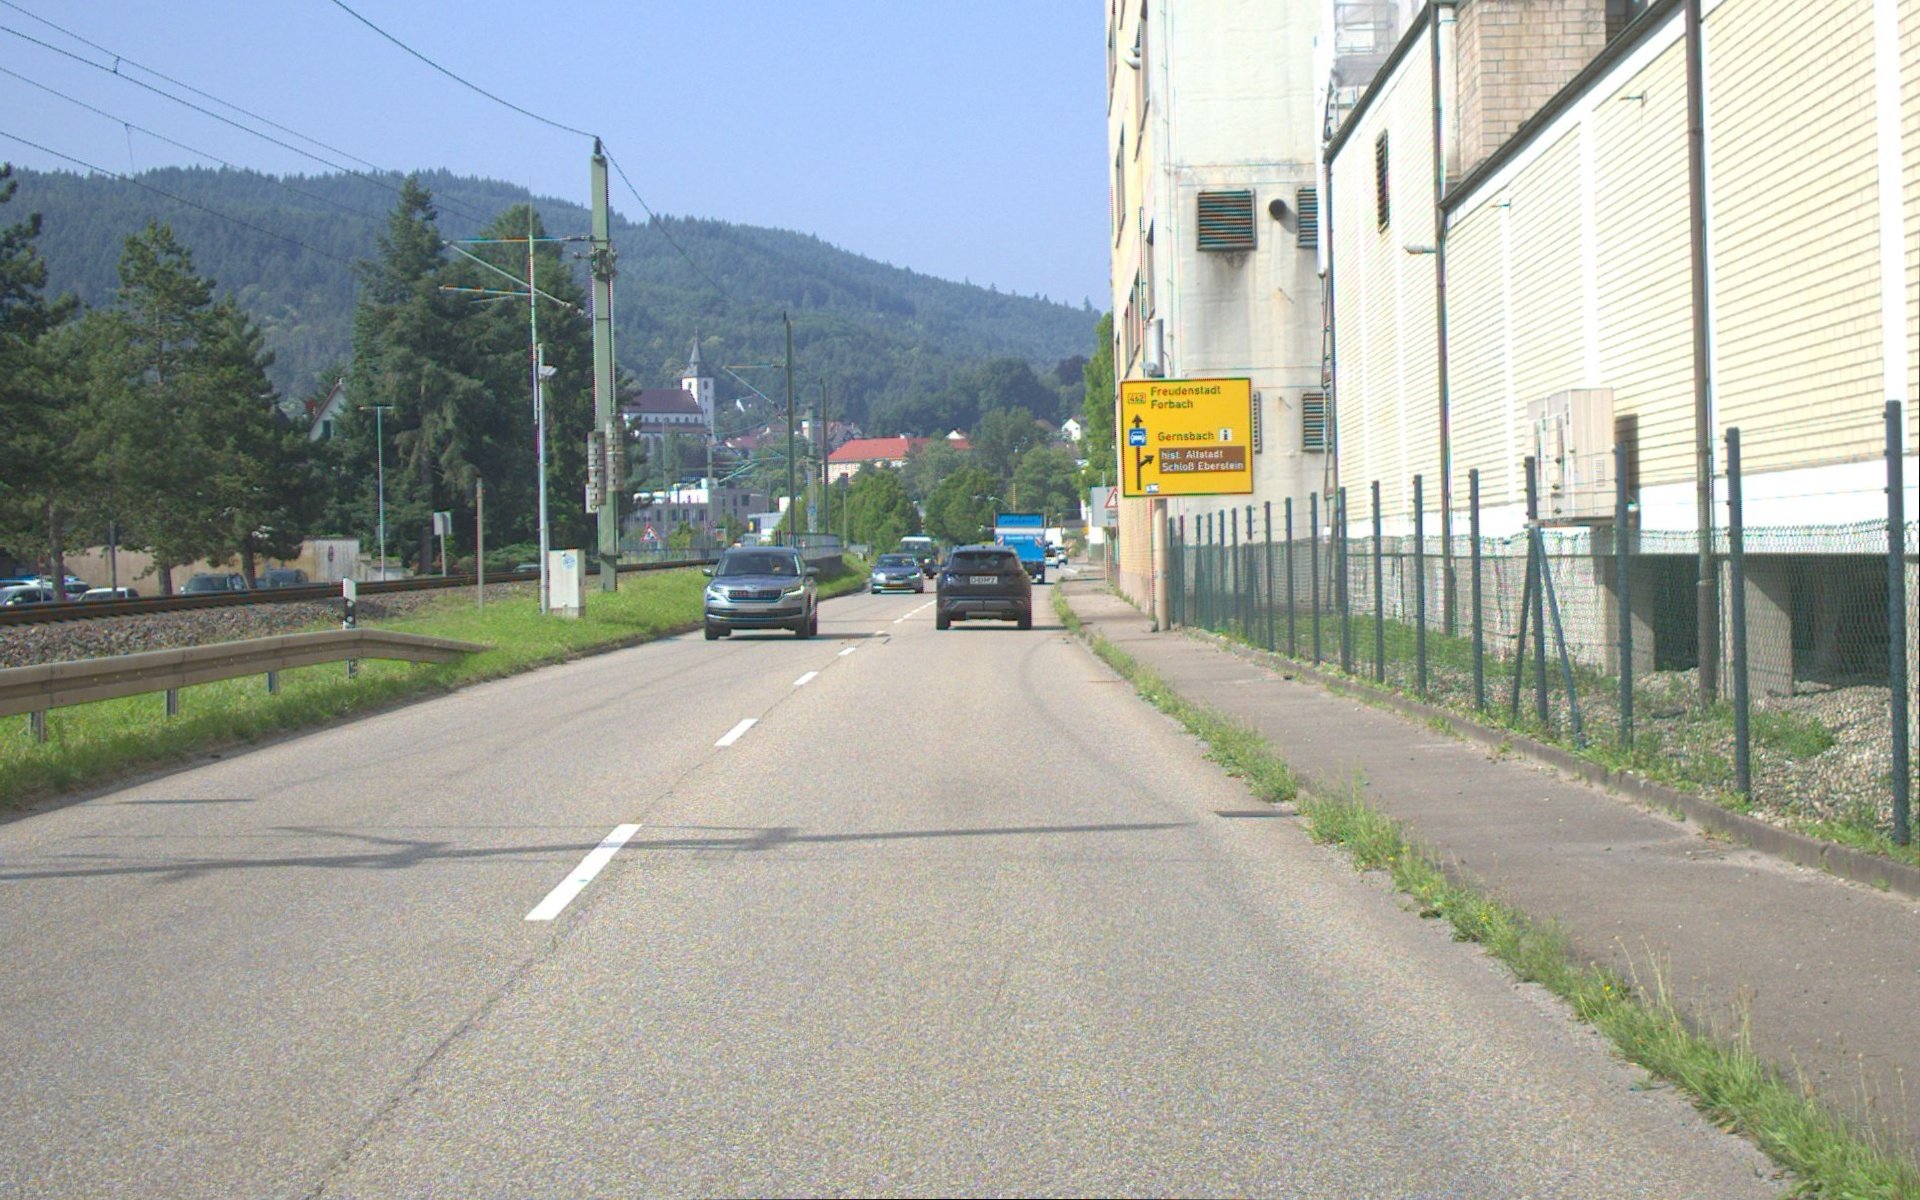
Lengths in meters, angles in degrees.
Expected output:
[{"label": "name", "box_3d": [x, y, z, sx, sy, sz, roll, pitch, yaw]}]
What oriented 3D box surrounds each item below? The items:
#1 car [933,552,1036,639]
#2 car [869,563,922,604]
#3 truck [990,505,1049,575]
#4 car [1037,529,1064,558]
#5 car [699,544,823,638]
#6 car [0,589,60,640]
[{"label": "car", "box_3d": [0.511, -0.109, 68.049, 1.919, 1.634, 4.000, -1, 1, 2]}, {"label": "car", "box_3d": [-2.344, -0.613, 125.077, 1.768, 1.400, 4.297, -2, 1, 0]}, {"label": "truck", "box_3d": [2.580, -2.645, 150.323, 2.312, 2.960, 5.966, -1, 1, -1]}, {"label": "car", "box_3d": [5.854, -3.667, 222.597, 1.667, 1.816, 3.751, -1, 1, 2]}, {"label": "car", "box_3d": [-3.514, -0.171, 61.284, 1.906, 1.595, 4.570, -1, 0, 0]}, {"label": "car", "box_3d": [-32.501, 0.506, 115.378, 3.987, 1.634, 2.000, -2, 1, -31]}]
